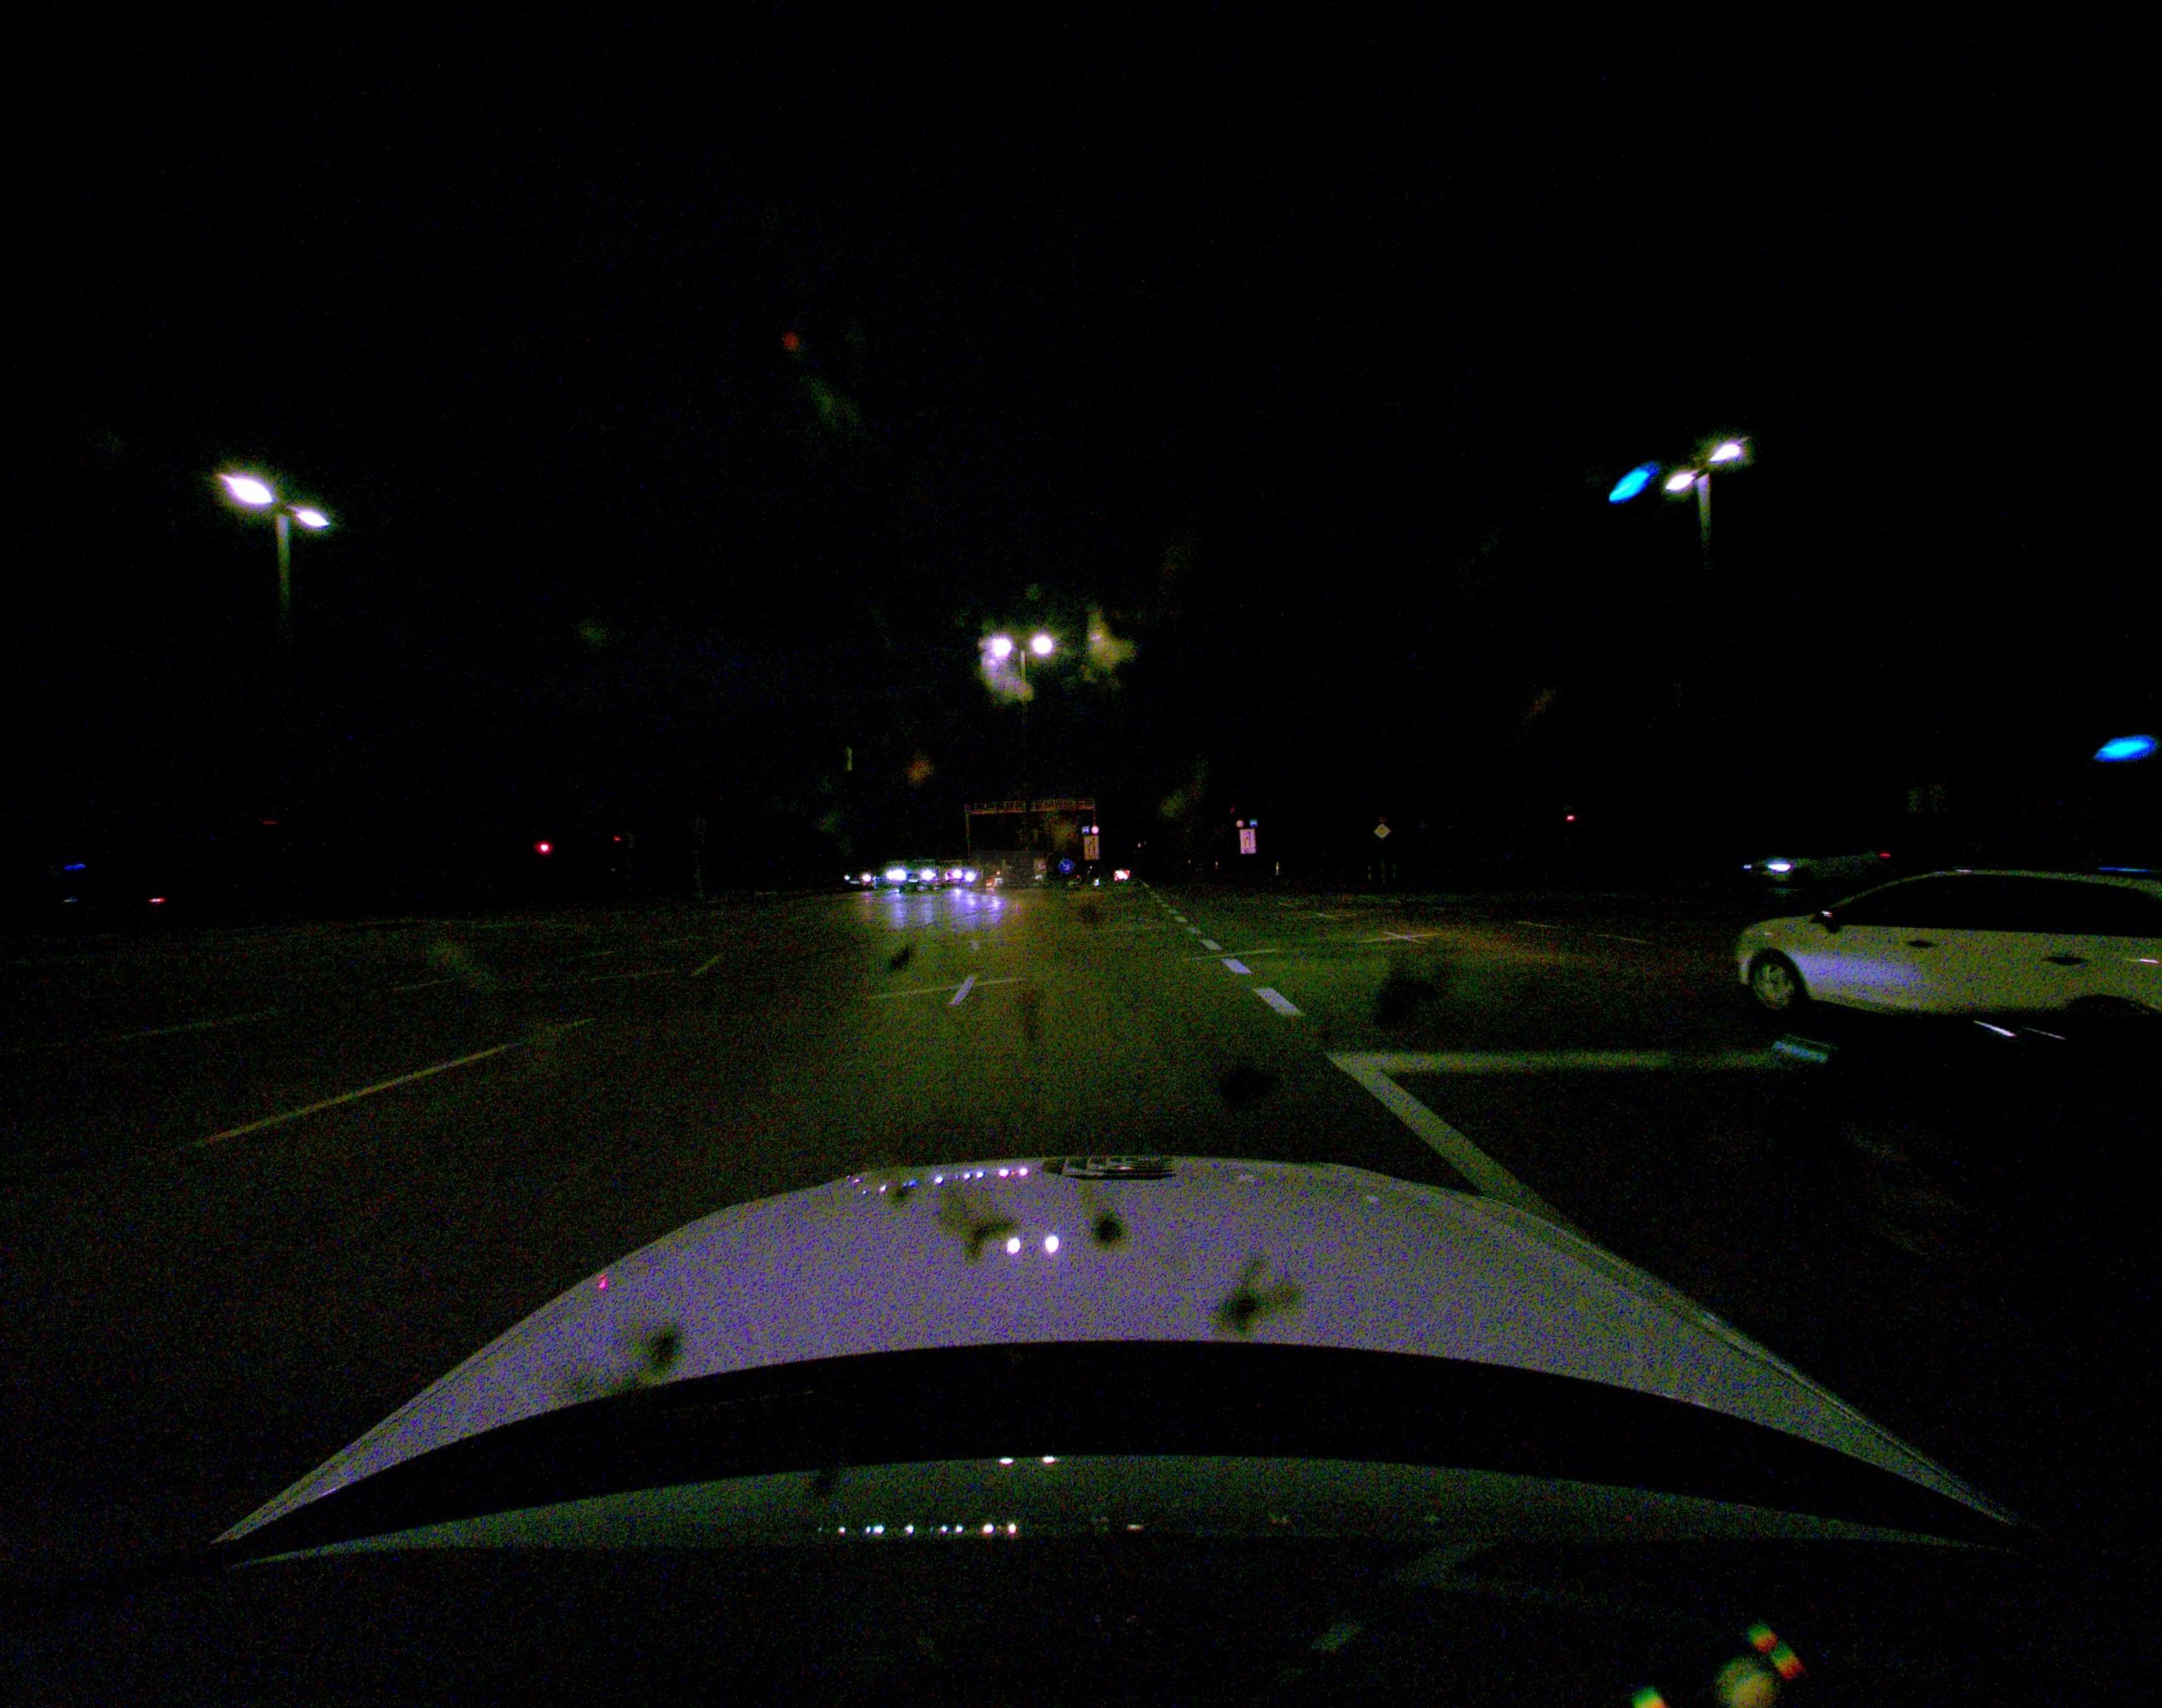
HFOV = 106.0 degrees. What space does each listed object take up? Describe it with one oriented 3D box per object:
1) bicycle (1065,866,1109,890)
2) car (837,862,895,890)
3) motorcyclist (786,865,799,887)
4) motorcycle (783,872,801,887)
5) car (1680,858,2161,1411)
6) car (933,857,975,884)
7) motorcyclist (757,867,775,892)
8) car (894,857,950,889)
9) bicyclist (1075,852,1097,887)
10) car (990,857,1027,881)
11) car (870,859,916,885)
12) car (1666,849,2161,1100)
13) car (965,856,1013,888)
[{"bbox_3d":[0.270,1.125,38.639,2.057,1.101,0.694,-1,-1,-3],"label":"bicycle"},{"bbox_3d":[-12.101,1.184,46.150,1.772,1.445,4.297,-1,0,5],"label":"car"},{"bbox_3d":[-24.167,1.834,68.210,0.680,1.759,0.789,-5,-3,-3],"label":"motorcyclist"},{"bbox_3d":[-24.145,2.133,68.029,0.845,1.181,1.819,-5,-3,-3],"label":"motorcycle"},{"bbox_3d":[3.698,0.726,1.621,1.783,1.443,4.535,0,-1,2],"label":"car"},{"bbox_3d":[-8.082,1.008,52.277,1.738,1.626,4.367,-1,0,4],"label":"car"},{"bbox_3d":[-24.637,1.989,63.767,0.910,1.809,0.871,-6,-3,4],"label":"motorcyclist"},{"bbox_3d":[-8.691,1.007,44.951,1.900,1.682,4.425,-1,0,4],"label":"car"},{"bbox_3d":[0.215,0.733,38.656,0.994,1.651,0.603,-1,-1,-3],"label":"bicyclist"},{"bbox_3d":[-4.638,0.962,52.786,1.765,1.481,3.914,0,0,4],"label":"car"},{"bbox_3d":[-12.052,1.141,52.494,1.824,1.524,4.003,-2,0,3],"label":"car"},{"bbox_3d":[7.110,0.712,6.681,1.614,1.443,4.117,-2,0,-1],"label":"car"},{"bbox_3d":[-5.014,0.967,45.085,1.844,1.633,4.589,-1,0,3],"label":"car"}]
